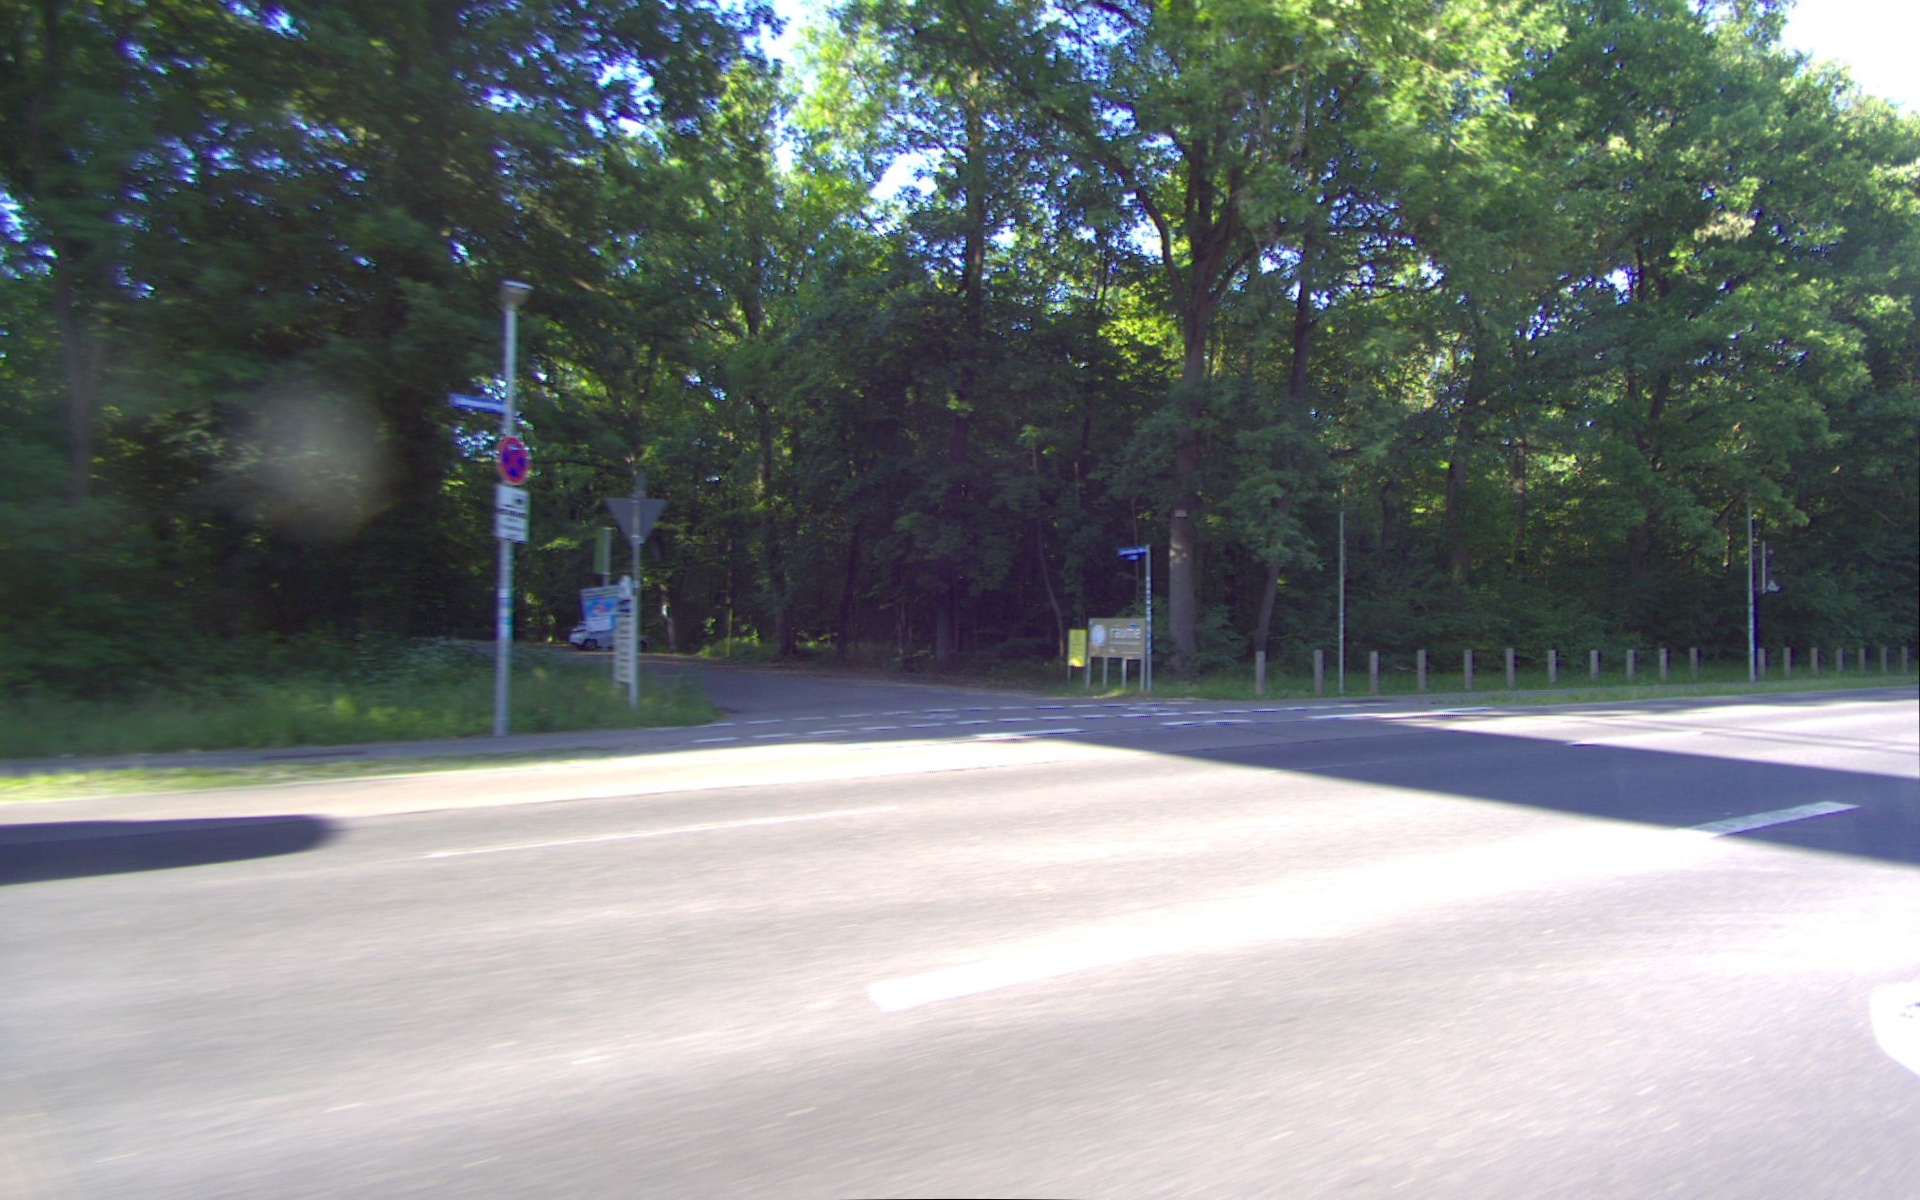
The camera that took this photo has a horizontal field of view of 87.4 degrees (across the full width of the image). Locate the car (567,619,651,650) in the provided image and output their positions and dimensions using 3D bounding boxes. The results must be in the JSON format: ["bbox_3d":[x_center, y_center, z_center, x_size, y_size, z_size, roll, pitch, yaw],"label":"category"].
[{"bbox_3d":[-17.458,1.697,50.032,3.674,1.465,1.586,1,-1,-33],"label":"car"}]
